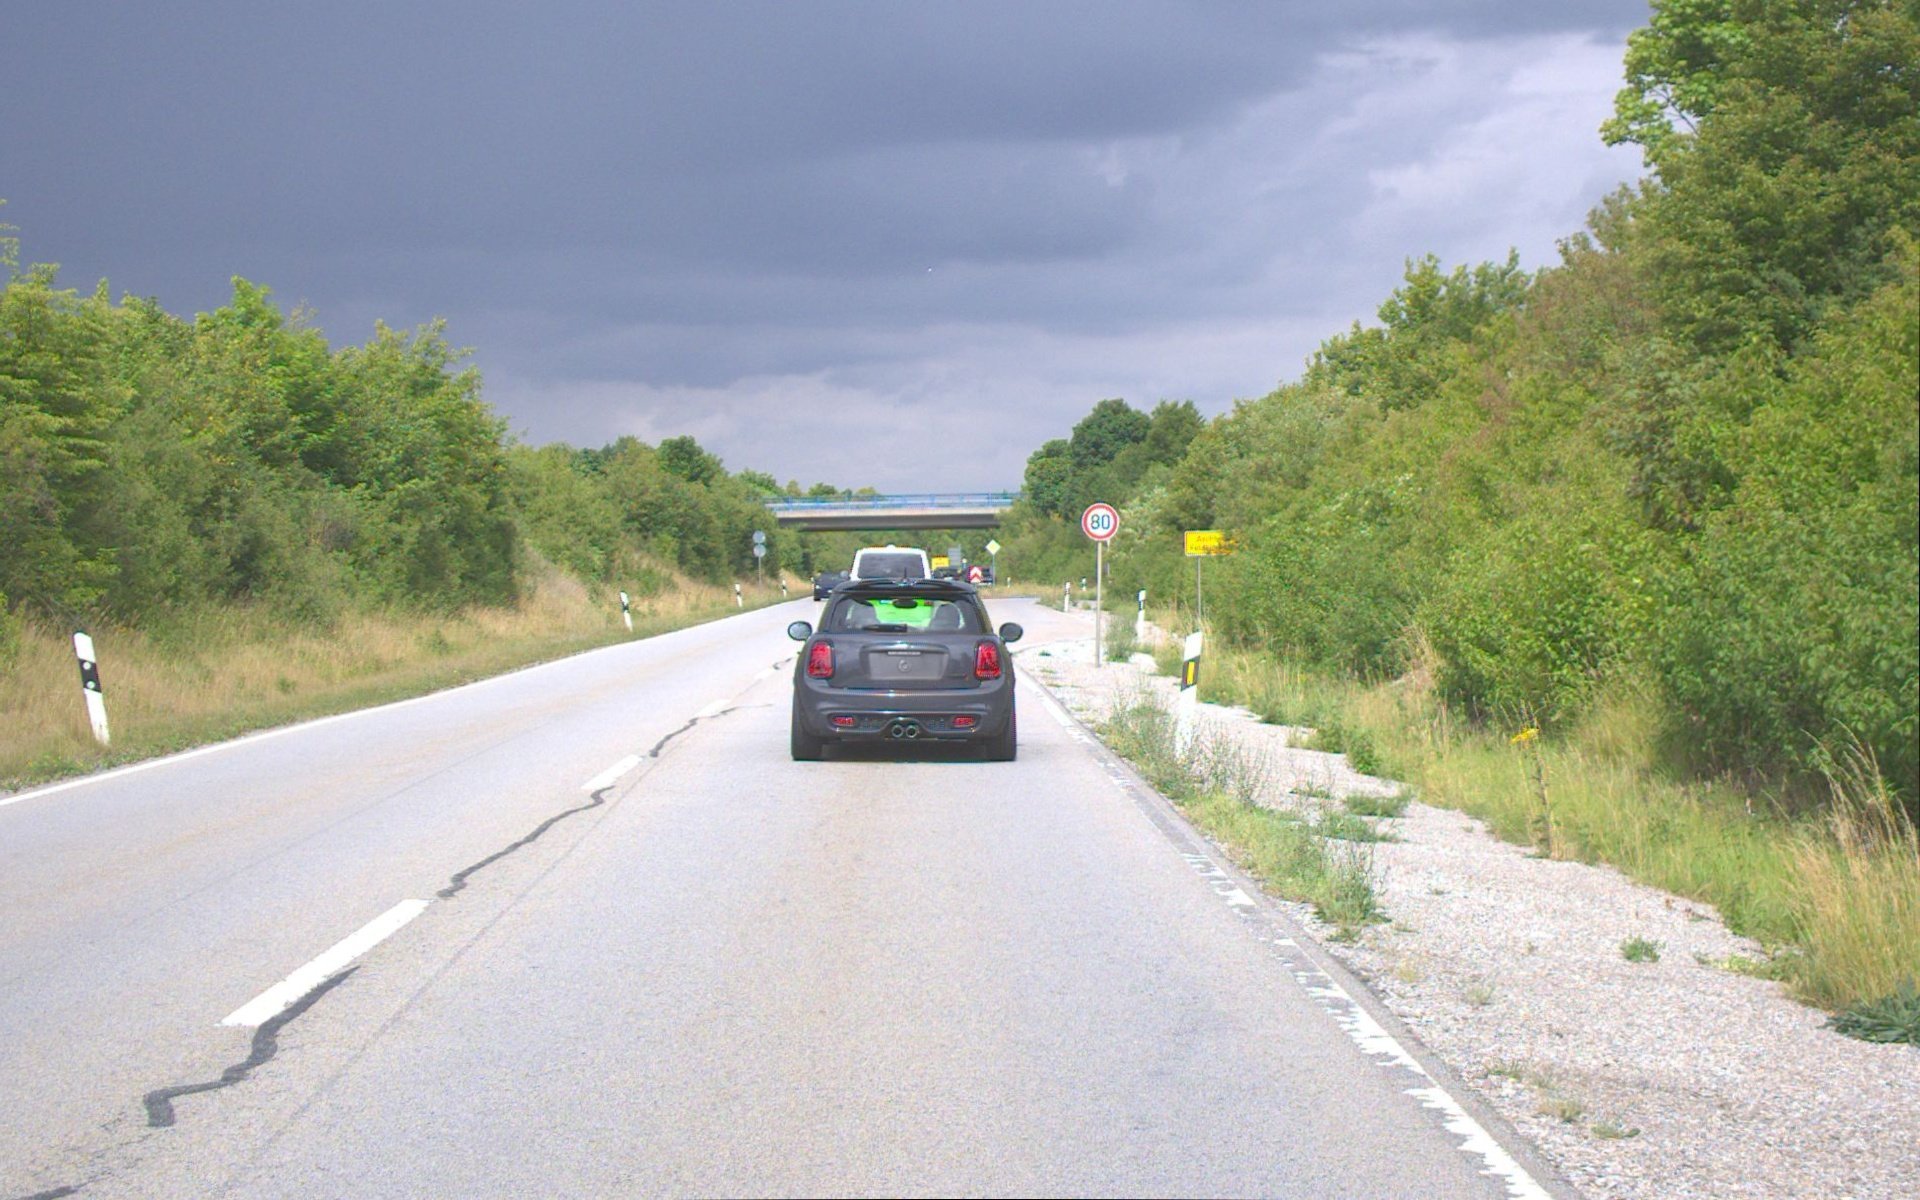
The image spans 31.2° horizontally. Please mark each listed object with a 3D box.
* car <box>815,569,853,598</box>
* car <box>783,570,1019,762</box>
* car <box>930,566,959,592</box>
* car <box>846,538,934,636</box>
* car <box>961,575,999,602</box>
[{"bbox_3d":[-5.999,-0.792,163.752,1.701,1.326,4.000,-1,0,-1],"label":"car"},{"bbox_3d":[-0.473,0.481,27.841,1.756,1.422,4.000,1,0,-1],"label":"car"},{"bbox_3d":[-1.060,-1.420,229.654,1.780,1.700,4.000,0,0,-3],"label":"car"},{"bbox_3d":[-1.508,-0.292,74.523,1.819,2.047,4.000,1,0,-1],"label":"car"},{"bbox_3d":[1.163,-0.682,199.998,1.993,1.547,4.000,1,0,-3],"label":"car"}]
